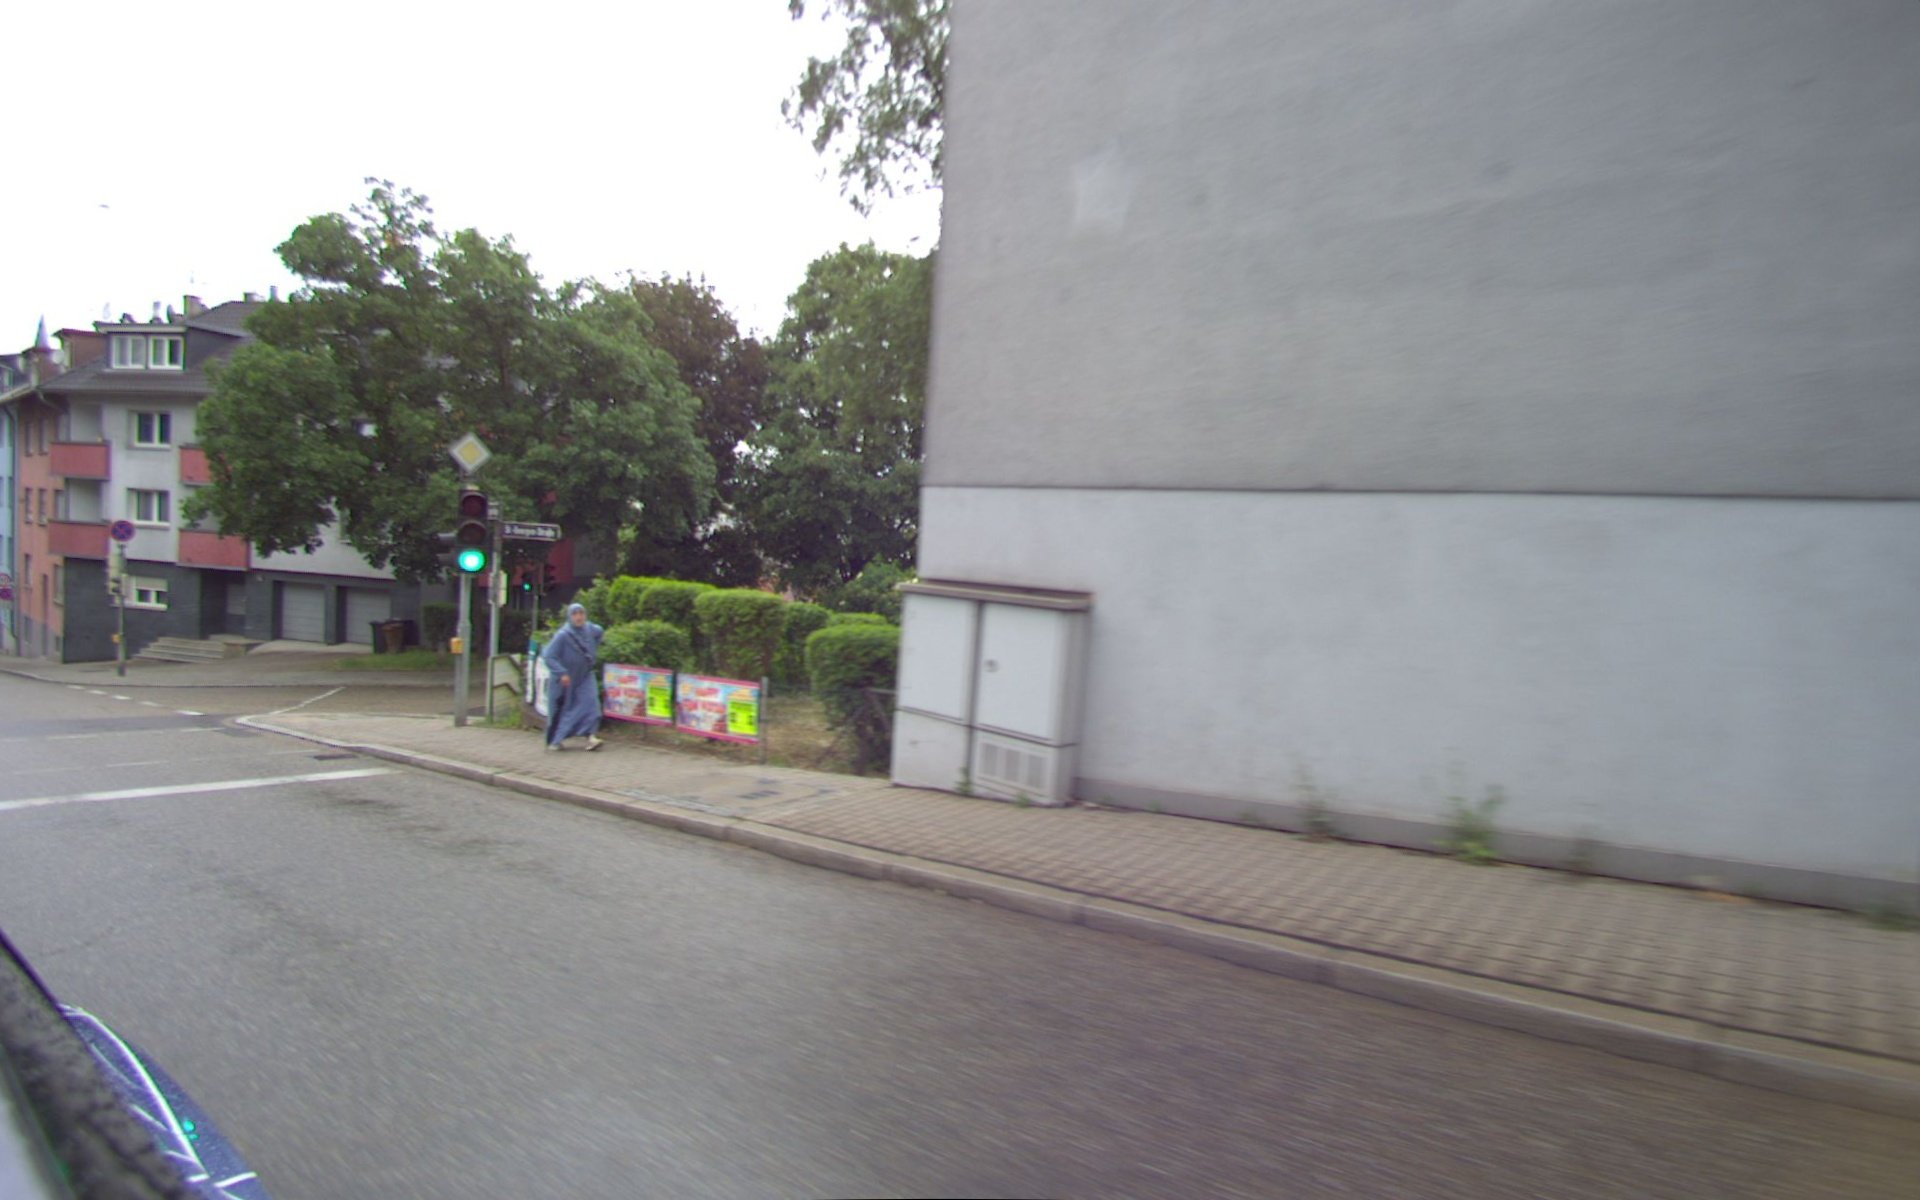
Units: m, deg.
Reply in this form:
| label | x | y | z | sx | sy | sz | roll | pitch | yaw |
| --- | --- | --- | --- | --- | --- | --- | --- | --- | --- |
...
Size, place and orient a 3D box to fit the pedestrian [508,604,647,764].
| label | x | y | z | sx | sy | sz | roll | pitch | yaw |
| --- | --- | --- | --- | --- | --- | --- | --- | --- | --- |
| pedestrian | -4.003 | 0.854 | 10.579 | 1.086 | 1.553 | 0.861 | -4 | -2 | 38 |

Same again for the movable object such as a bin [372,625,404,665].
| label | x | y | z | sx | sy | sz | roll | pitch | yaw |
| --- | --- | --- | --- | --- | --- | --- | --- | --- | --- |
| movable object such as a bin | -18.037 | 1.403 | 31.911 | 0.682 | 1.209 | 0.558 | 0 | 1 | 15 |

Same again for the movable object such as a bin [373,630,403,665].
| label | x | y | z | sx | sy | sz | roll | pitch | yaw |
| --- | --- | --- | --- | --- | --- | --- | --- | --- | --- |
| movable object such as a bin | -17.579 | 1.440 | 31.084 | 0.496 | 1.023 | 0.627 | 0 | 1 | 16 |

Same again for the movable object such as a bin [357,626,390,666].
| label | x | y | z | sx | sy | sz | roll | pitch | yaw |
| --- | --- | --- | --- | --- | --- | --- | --- | --- | --- |
| movable object such as a bin | -18.163 | 1.417 | 31.340 | 0.682 | 1.209 | 0.558 | 0 | 1 | 15 |
